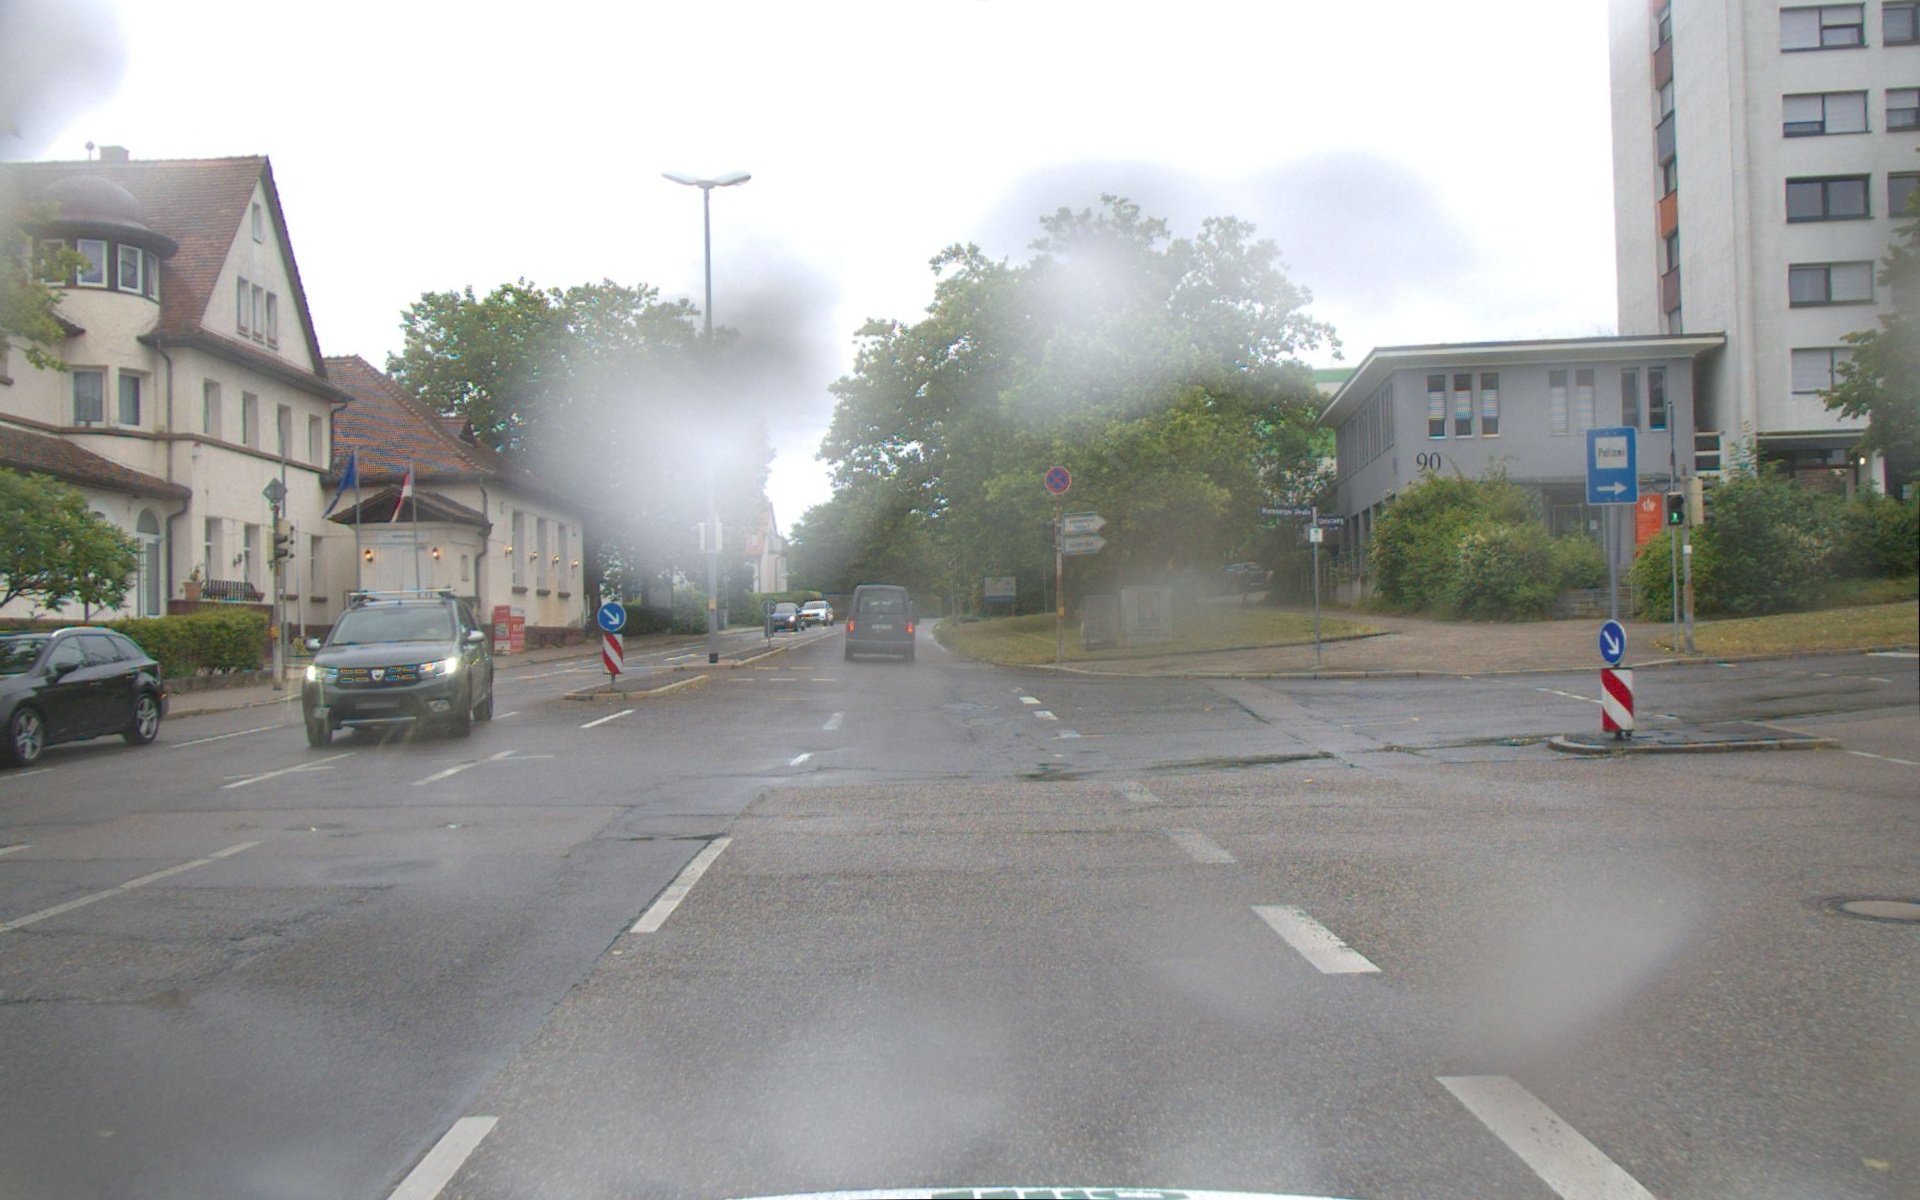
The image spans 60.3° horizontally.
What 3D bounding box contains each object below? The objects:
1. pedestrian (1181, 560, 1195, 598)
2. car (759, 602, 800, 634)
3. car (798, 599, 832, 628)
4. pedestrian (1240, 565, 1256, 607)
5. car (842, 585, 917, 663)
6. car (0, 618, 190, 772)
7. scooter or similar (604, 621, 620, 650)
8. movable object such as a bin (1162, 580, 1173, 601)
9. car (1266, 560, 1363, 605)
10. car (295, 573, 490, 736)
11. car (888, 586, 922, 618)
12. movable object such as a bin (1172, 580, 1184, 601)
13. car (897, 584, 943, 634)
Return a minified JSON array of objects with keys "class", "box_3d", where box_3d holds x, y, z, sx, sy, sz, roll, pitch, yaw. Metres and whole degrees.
[{"class":"pedestrian","box_3d":[10.801,-0.992,78.325,0.546,1.794,0.727,0,-1,-4]},{"class":"car","box_3d":[-9.478,0.943,87.166,1.757,1.554,4.208,-2,1,-2]},{"class":"car","box_3d":[-9.039,0.842,103.467,1.793,1.701,4.050,-2,1,-2]},{"class":"pedestrian","box_3d":[11.353,-0.554,65.245,0.588,1.645,0.526,0,-1,7]},{"class":"car","box_3d":[-1.996,0.591,41.451,1.776,1.840,3.754,0,-1,-3]},{"class":"car","box_3d":[-10.664,1.004,18.797,1.870,1.452,4.413,-2,1,-3]},{"class":"scooter or similar","box_3d":[-13.441,1.365,63.909,0.382,1.083,1.409,0,-1,-4]},{"class":"movable object such as a bin","box_3d":[9.303,-0.417,74.231,0.440,0.921,0.463,0,-1,16]},{"class":"car","box_3d":[15.042,-0.745,70.309,3.902,1.848,2.002,0,-1,8]},{"class":"car","box_3d":[-6.576,0.542,19.178,1.870,1.605,4.477,-2,1,-19]},{"class":"car","box_3d":[-3.298,0.130,99.386,1.953,1.915,3.998,0,-1,-2]},{"class":"movable object such as a bin","box_3d":[9.763,-0.415,74.098,0.440,0.921,0.463,0,-1,16]},{"class":"car","box_3d":[-1.545,0.350,62.990,1.671,1.840,3.682,0,-1,-3]}]
